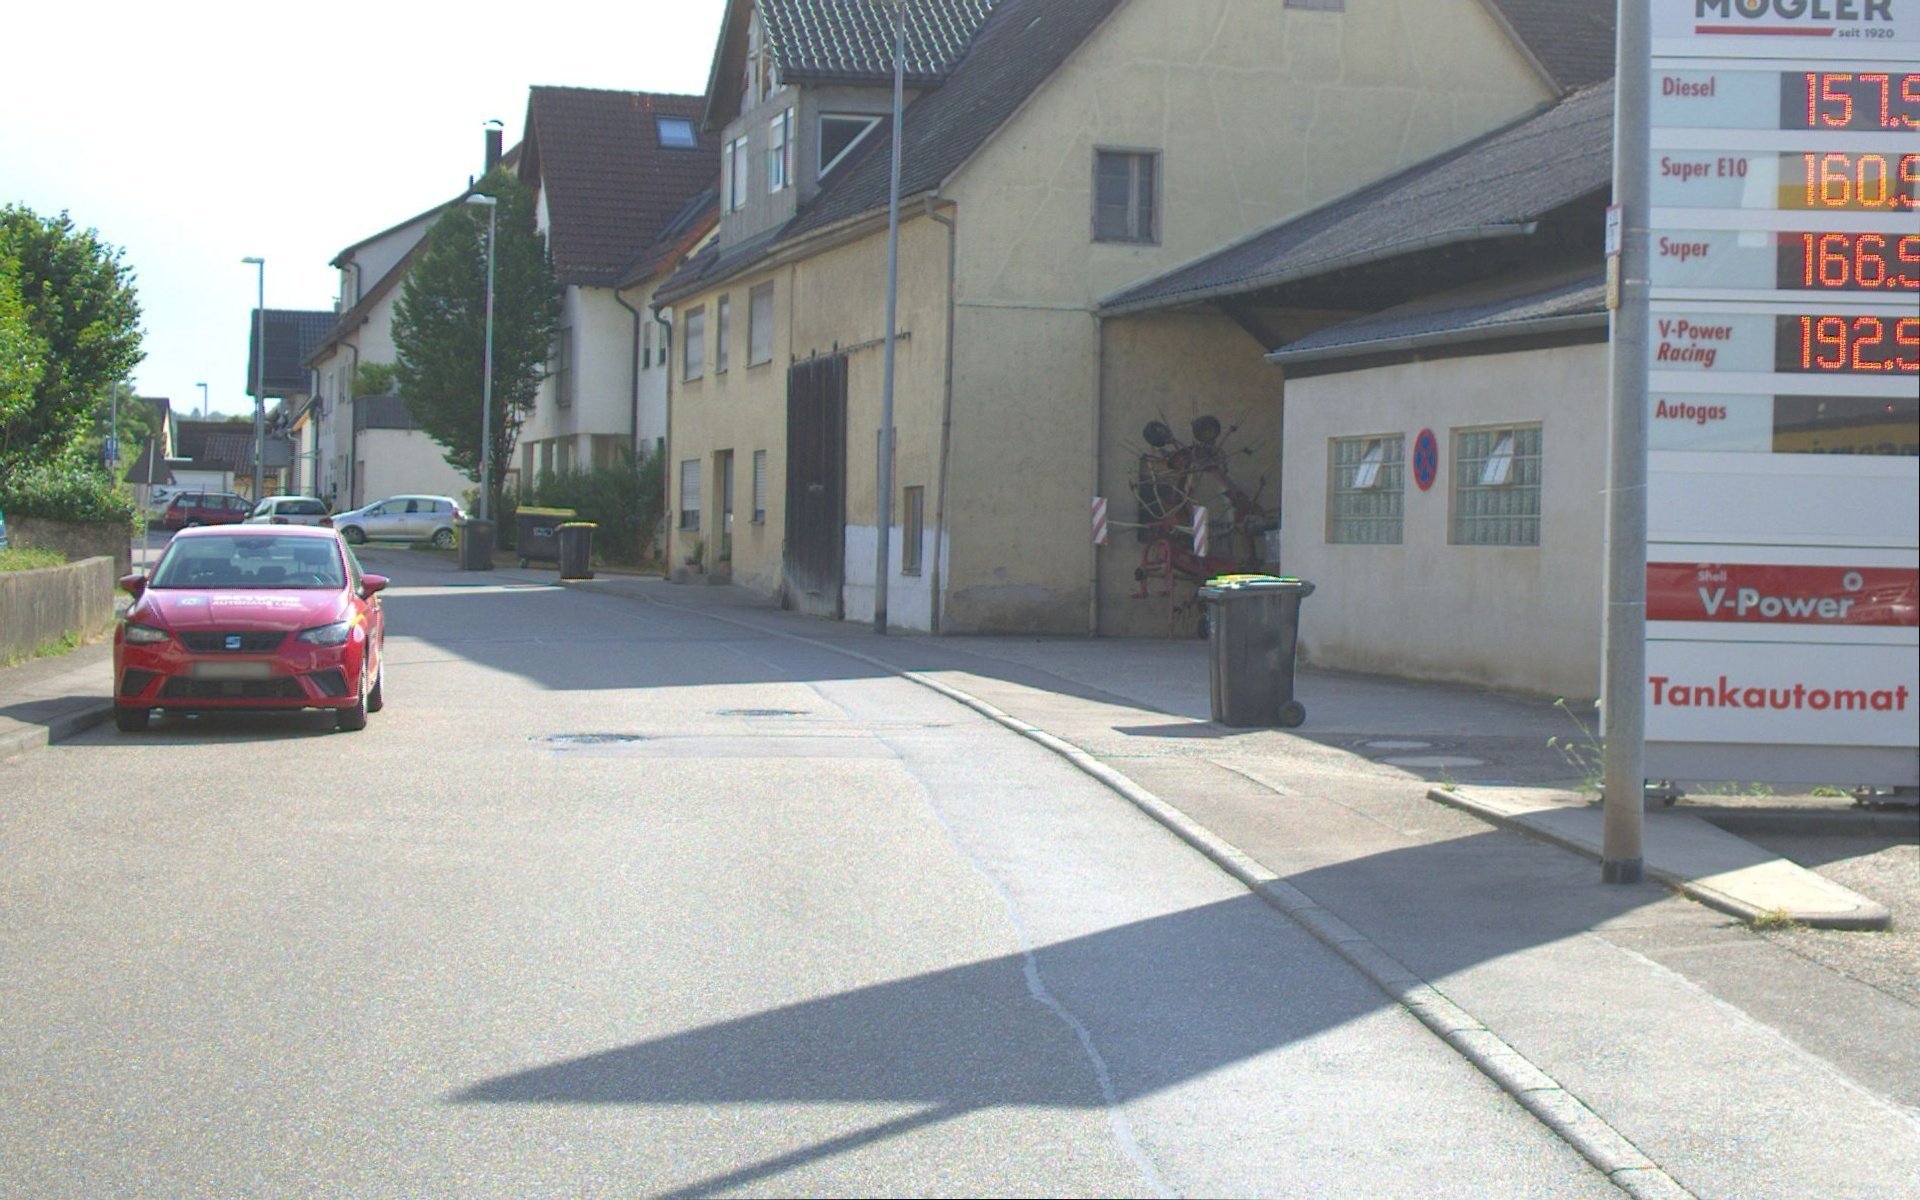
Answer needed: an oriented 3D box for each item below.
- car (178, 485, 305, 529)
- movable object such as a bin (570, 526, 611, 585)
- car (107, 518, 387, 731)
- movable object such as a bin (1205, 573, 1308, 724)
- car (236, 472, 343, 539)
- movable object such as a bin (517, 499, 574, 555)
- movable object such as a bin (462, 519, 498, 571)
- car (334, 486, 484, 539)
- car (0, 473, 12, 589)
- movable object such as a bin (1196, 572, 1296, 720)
[{"bbox_3d":[-23.676,-3.068,113.199,3.986,1.348,1.711,1,1,-15],"label":"car"},{"bbox_3d":[-6.878,-0.824,63.934,0.652,1.070,0.513,1,1,-16],"label":"movable object such as a bin"},{"bbox_3d":[-5.141,0.135,25.167,1.708,1.430,3.781,0,1,-7],"label":"car"},{"bbox_3d":[2.156,0.347,25.040,0.653,1.070,0.513,1,1,-3],"label":"movable object such as a bin"},{"bbox_3d":[-16.539,-2.339,84.680,1.704,1.573,4.001,1,1,-24],"label":"car"},{"bbox_3d":[-8.931,-1.568,74.056,1.160,1.164,0.655,1,1,-12],"label":"movable object such as a bin"},{"bbox_3d":[-10.083,-1.155,72.198,0.652,1.070,0.513,1,1,-16],"label":"movable object such as a bin"},{"bbox_3d":[-15.121,-2.409,94.431,3.986,1.348,1.711,1,1,-8],"label":"car"},{"bbox_3d":[-11.895,-0.798,39.744,1.358,1.367,3.196,0,1,-7],"label":"car"},{"bbox_3d":[2.125,0.339,25.594,0.653,1.070,0.513,1,1,-3],"label":"movable object such as a bin"}]
